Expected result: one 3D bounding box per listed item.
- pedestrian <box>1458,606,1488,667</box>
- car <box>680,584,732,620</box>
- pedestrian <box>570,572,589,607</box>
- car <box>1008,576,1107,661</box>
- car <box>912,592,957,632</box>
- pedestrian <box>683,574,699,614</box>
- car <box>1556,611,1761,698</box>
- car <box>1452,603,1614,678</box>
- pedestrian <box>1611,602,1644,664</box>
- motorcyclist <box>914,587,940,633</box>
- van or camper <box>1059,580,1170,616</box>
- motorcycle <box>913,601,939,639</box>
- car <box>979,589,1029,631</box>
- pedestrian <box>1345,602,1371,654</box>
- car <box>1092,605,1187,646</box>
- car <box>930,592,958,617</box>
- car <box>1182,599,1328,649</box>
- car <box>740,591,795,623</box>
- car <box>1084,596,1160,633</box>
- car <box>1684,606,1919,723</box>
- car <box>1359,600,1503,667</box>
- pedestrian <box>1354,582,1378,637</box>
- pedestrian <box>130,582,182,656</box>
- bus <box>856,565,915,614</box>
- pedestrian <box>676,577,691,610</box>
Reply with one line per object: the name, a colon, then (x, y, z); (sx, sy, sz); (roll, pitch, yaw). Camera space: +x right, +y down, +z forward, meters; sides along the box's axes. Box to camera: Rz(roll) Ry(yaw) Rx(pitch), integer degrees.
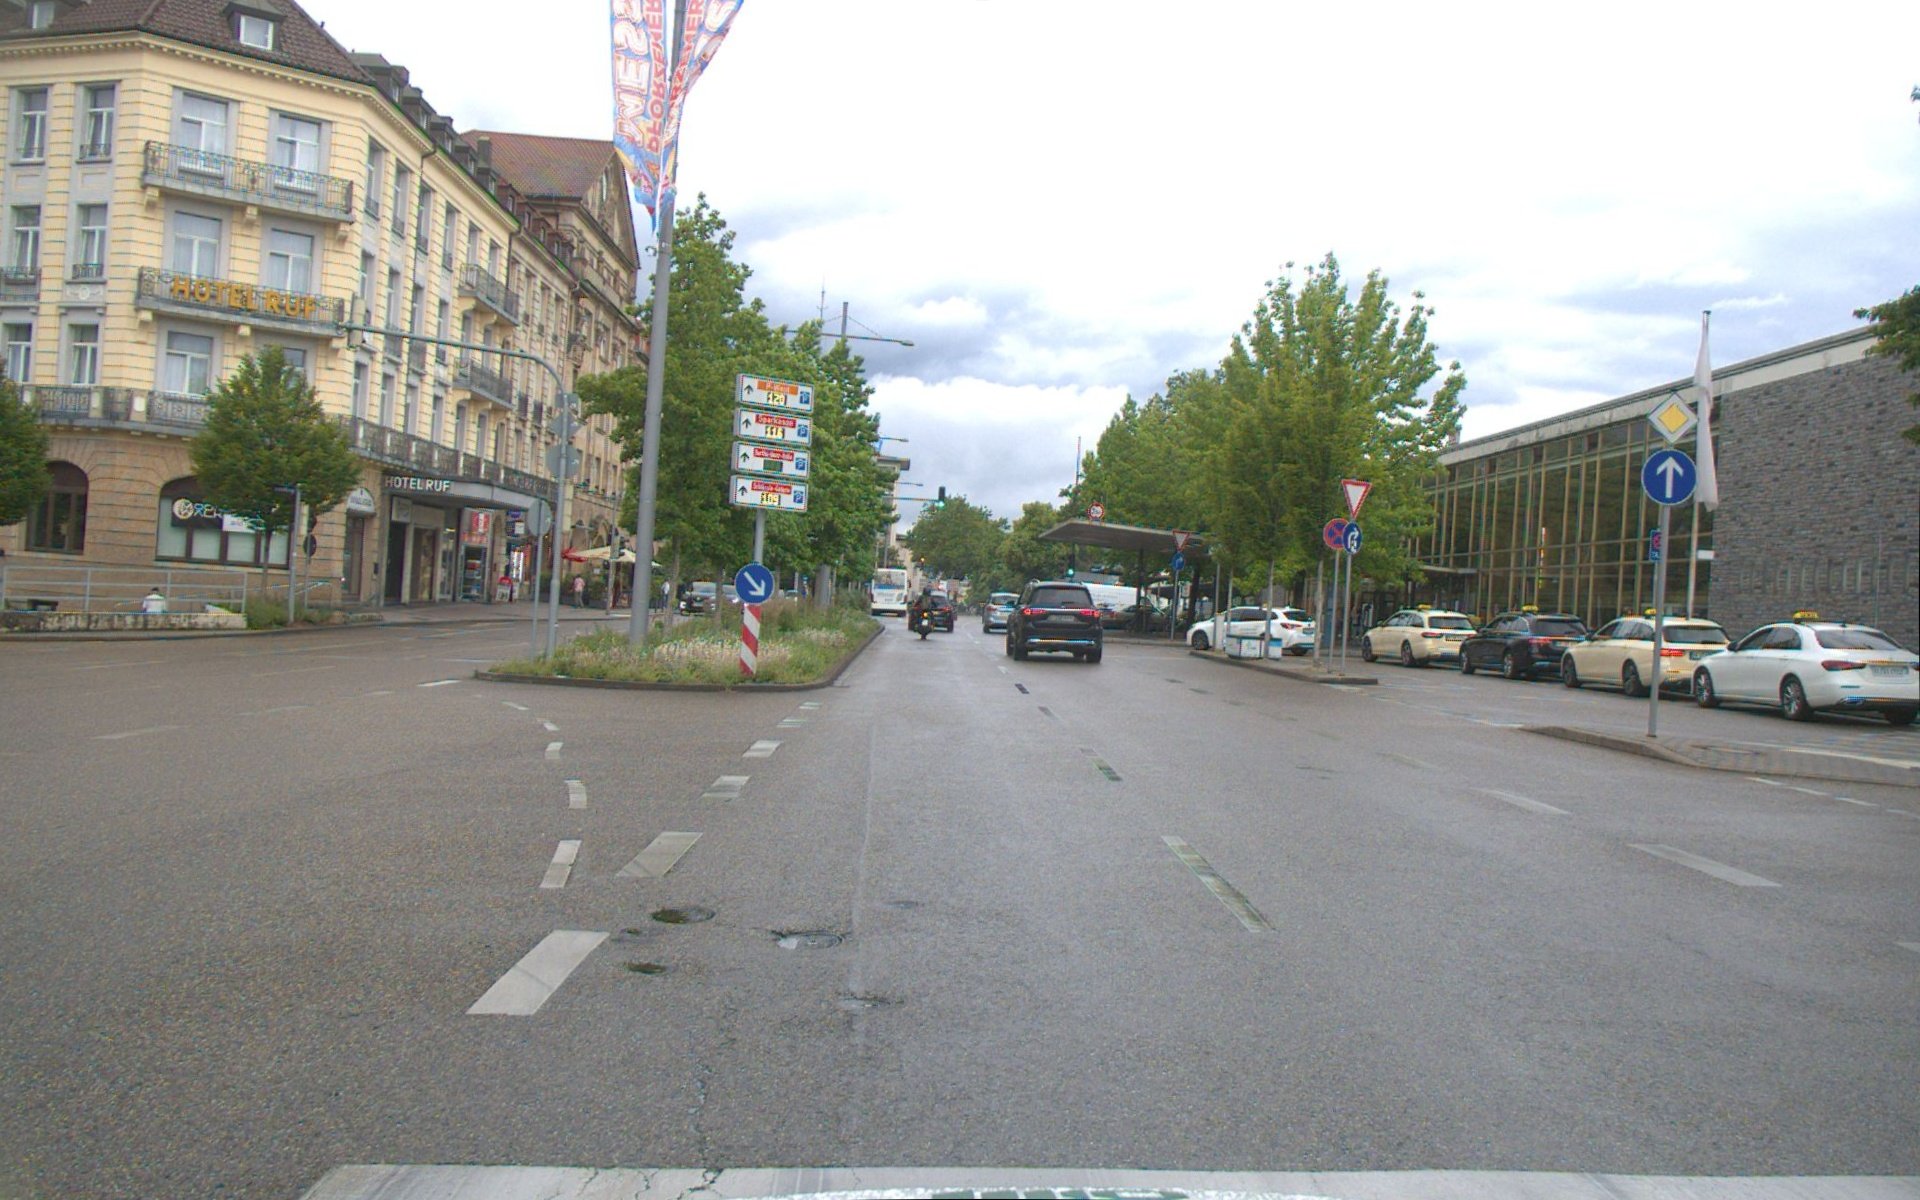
pedestrian: (14.825, 1.052, 47.792); (0.553, 1.739, 0.715); (2, 0, -6)
car: (-11.692, 0.088, 76.367); (1.735, 1.557, 4.078); (2, 0, 0)
pedestrian: (-16.908, -0.450, 73.514); (0.656, 1.537, 0.512); (1, 0, -39)
car: (2.234, 0.393, 39.042); (1.953, 1.837, 4.689); (1, 0, -1)
car: (-1.004, 0.462, 64.281); (1.673, 1.473, 3.999); (1, 0, -1)
pedestrian: (-14.197, -0.325, 87.302); (0.742, 2.049, 0.832); (2, 0, -7)
car: (13.248, 0.986, 31.708); (1.809, 1.477, 4.664); (1, 0, -2)
car: (13.055, 0.879, 37.991); (1.875, 1.551, 4.740); (1, 0, -3)
pedestrian: (18.405, 0.904, 45.611); (0.553, 1.675, 0.715); (2, 0, -6)
motorcyclist: (-1.015, 0.306, 50.591); (0.749, 1.355, 0.866); (2, 0, -1)
van or camper: (9.625, -0.098, 103.078); (6.675, 2.049, 2.364); (1, -1, -27)
motorcycle: (-1.024, 0.599, 50.493); (0.750, 1.095, 2.175); (2, 0, -1)
car: (1.743, 0.392, 66.329); (1.813, 1.594, 3.999); (1, 0, -1)
pedestrian: (15.775, 1.102, 65.498); (0.754, 2.049, 0.828); (1, 0, -3)
car: (8.946, 1.290, 82.386); (4.273, 1.890, 1.988); (2, 0, -21)
car: (-1.034, 0.286, 104.084); (1.673, 1.500, 3.999); (1, 0, -1)
car: (9.080, 0.733, 51.166); (1.764, 1.409, 4.303); (1, 0, -41)
car: (-8.742, 0.315, 75.491); (1.688, 1.406, 4.861); (1, 0, 3)
car: (9.471, 0.831, 96.771); (3.929, 2.049, 1.988); (2, 0, -21)
car: (13.376, 0.943, 26.054); (1.739, 1.617, 4.614); (1, 0, -2)
car: (12.554, 0.856, 44.468); (1.956, 1.628, 4.814); (1, 0, -8)
pedestrian: (18.152, 0.427, 73.945); (0.825, 2.453, 0.862); (1, 0, 1)
pedestrian: (-21.503, 0.503, 44.256); (0.845, 1.911, 1.022); (2, 0, -1)
bus: (-5.583, -0.734, 120.642); (3.687, 3.265, 15.510); (1, 0, -5)
pedestrian: (-14.564, -0.339, 87.115); (0.661, 1.731, 0.633); (1, 0, -1)
